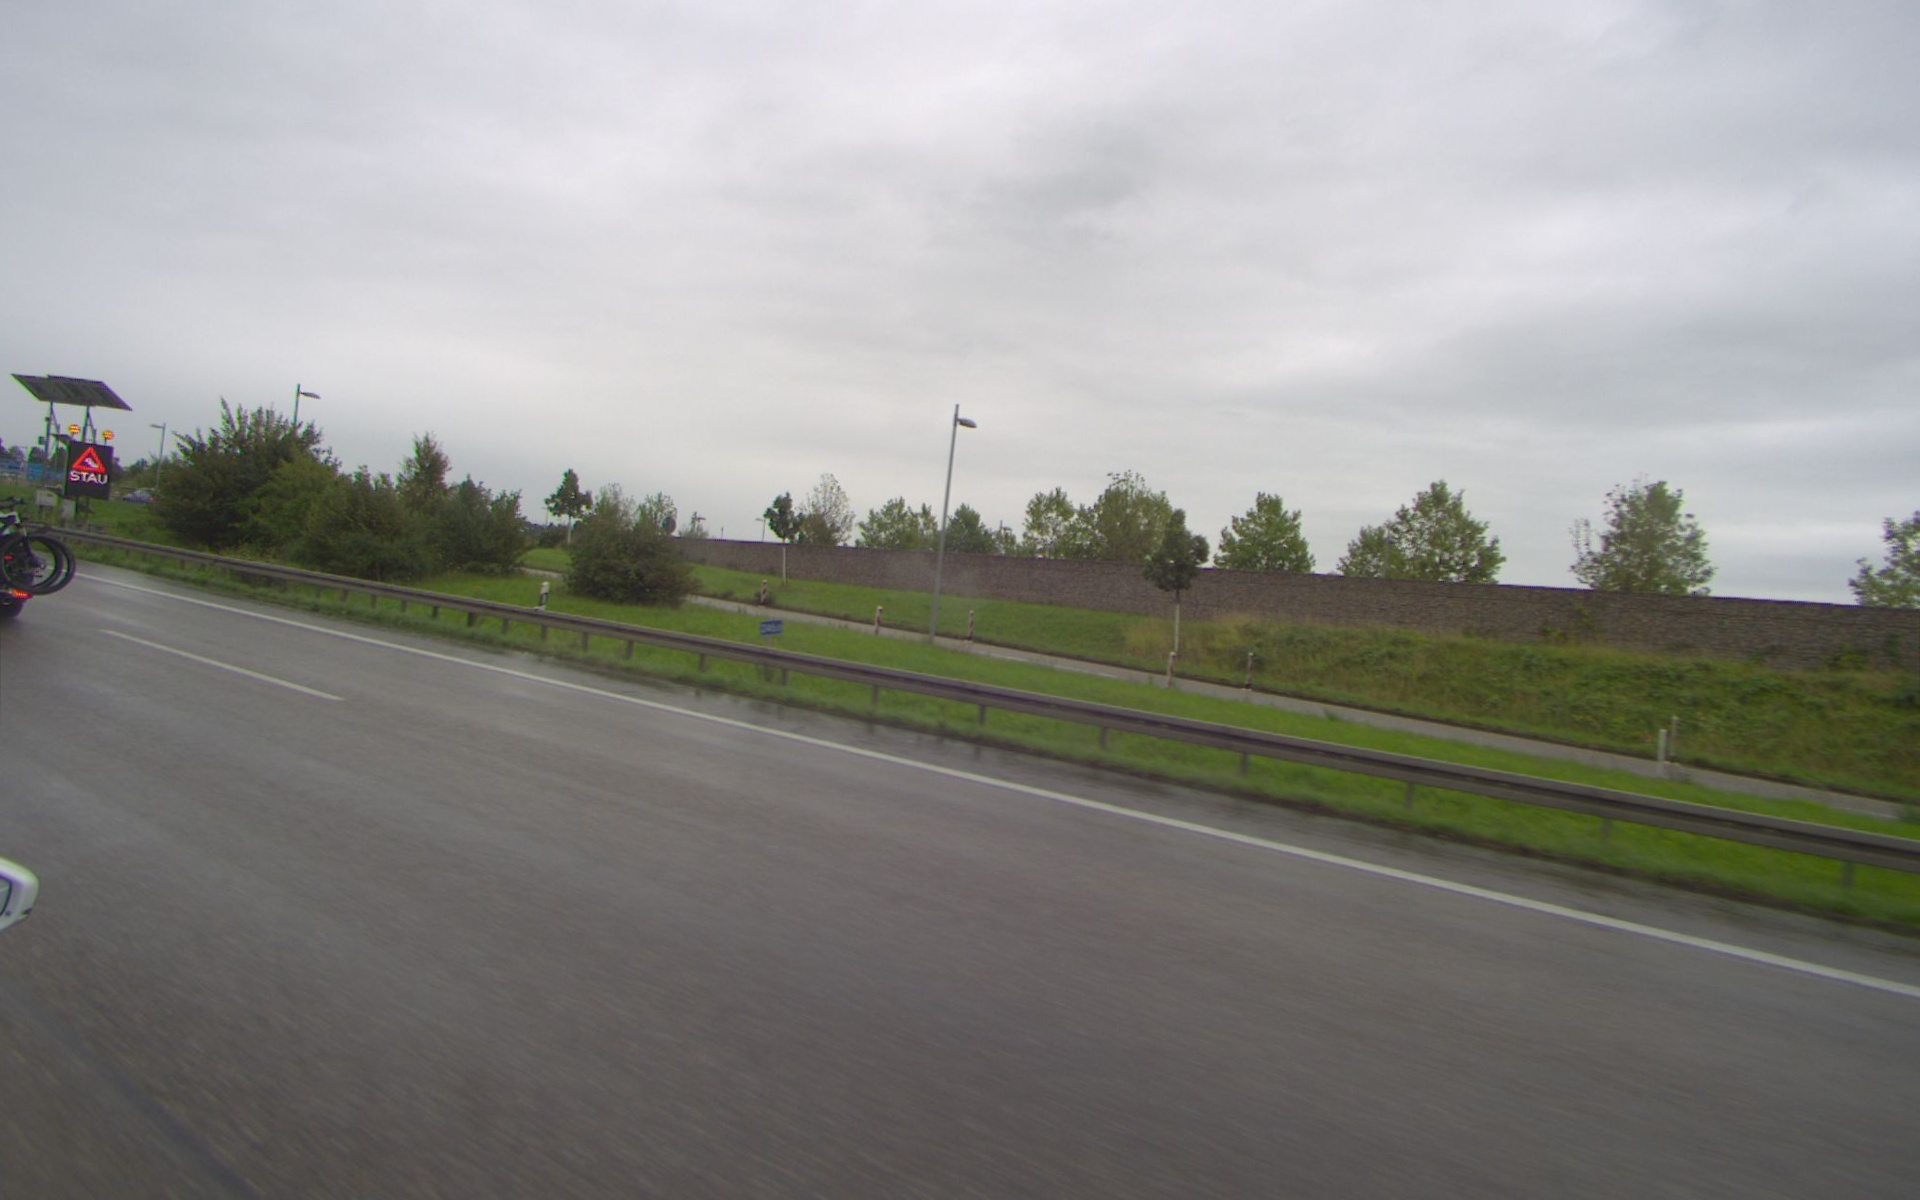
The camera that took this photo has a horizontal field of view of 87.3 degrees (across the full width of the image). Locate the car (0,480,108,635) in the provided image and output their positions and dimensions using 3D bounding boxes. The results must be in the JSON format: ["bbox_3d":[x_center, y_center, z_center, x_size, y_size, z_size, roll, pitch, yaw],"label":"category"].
[{"bbox_3d":[-13.191,-0.739,12.692,5.431,1.690,2.061,6,-2,32],"label":"car"}]
